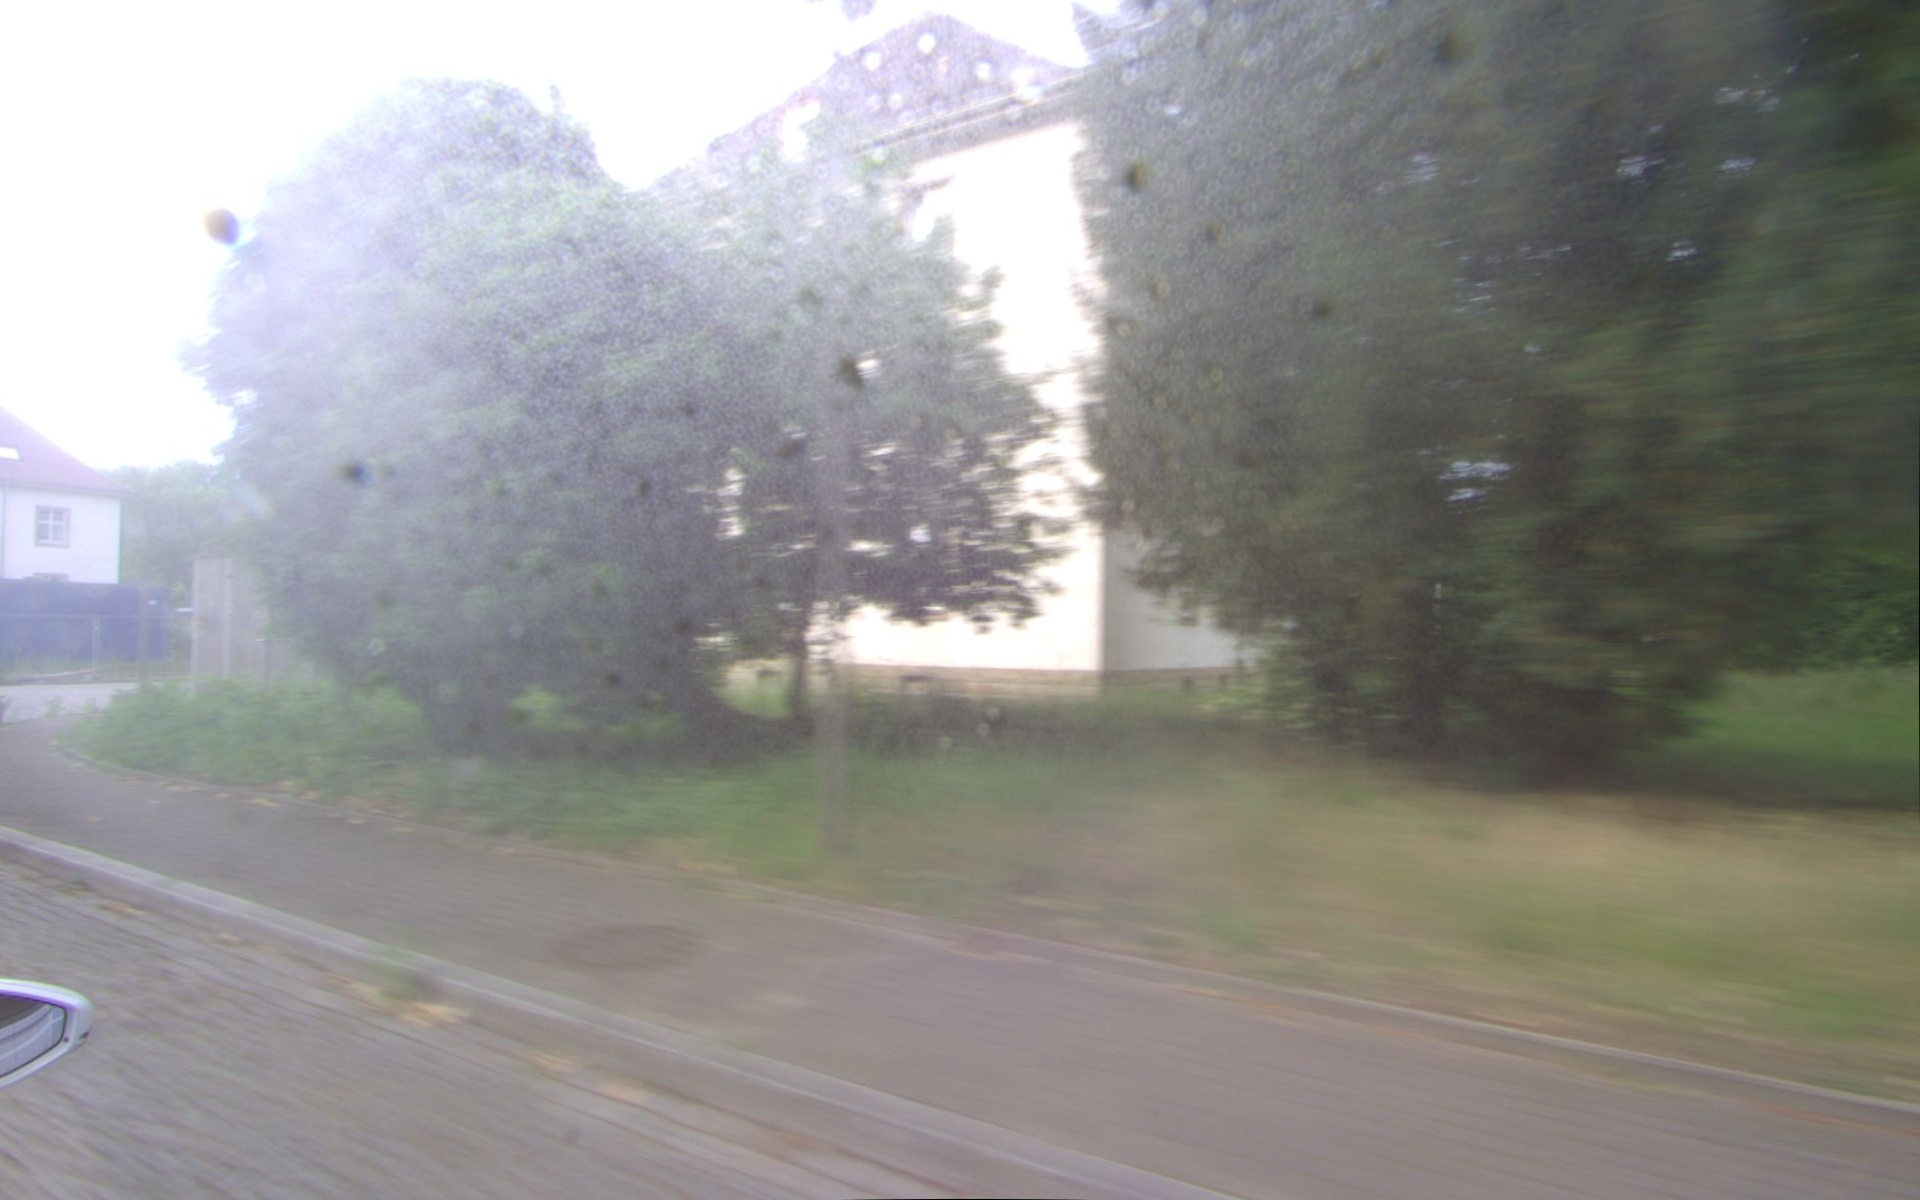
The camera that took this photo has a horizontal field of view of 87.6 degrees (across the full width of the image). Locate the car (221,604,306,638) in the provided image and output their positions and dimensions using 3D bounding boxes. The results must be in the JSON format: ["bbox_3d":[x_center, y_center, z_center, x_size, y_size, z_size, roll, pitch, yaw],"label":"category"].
[{"bbox_3d":[-45.235,1.407,65.242,1.730,2.068,5.424,1,-2,0],"label":"car"}]
